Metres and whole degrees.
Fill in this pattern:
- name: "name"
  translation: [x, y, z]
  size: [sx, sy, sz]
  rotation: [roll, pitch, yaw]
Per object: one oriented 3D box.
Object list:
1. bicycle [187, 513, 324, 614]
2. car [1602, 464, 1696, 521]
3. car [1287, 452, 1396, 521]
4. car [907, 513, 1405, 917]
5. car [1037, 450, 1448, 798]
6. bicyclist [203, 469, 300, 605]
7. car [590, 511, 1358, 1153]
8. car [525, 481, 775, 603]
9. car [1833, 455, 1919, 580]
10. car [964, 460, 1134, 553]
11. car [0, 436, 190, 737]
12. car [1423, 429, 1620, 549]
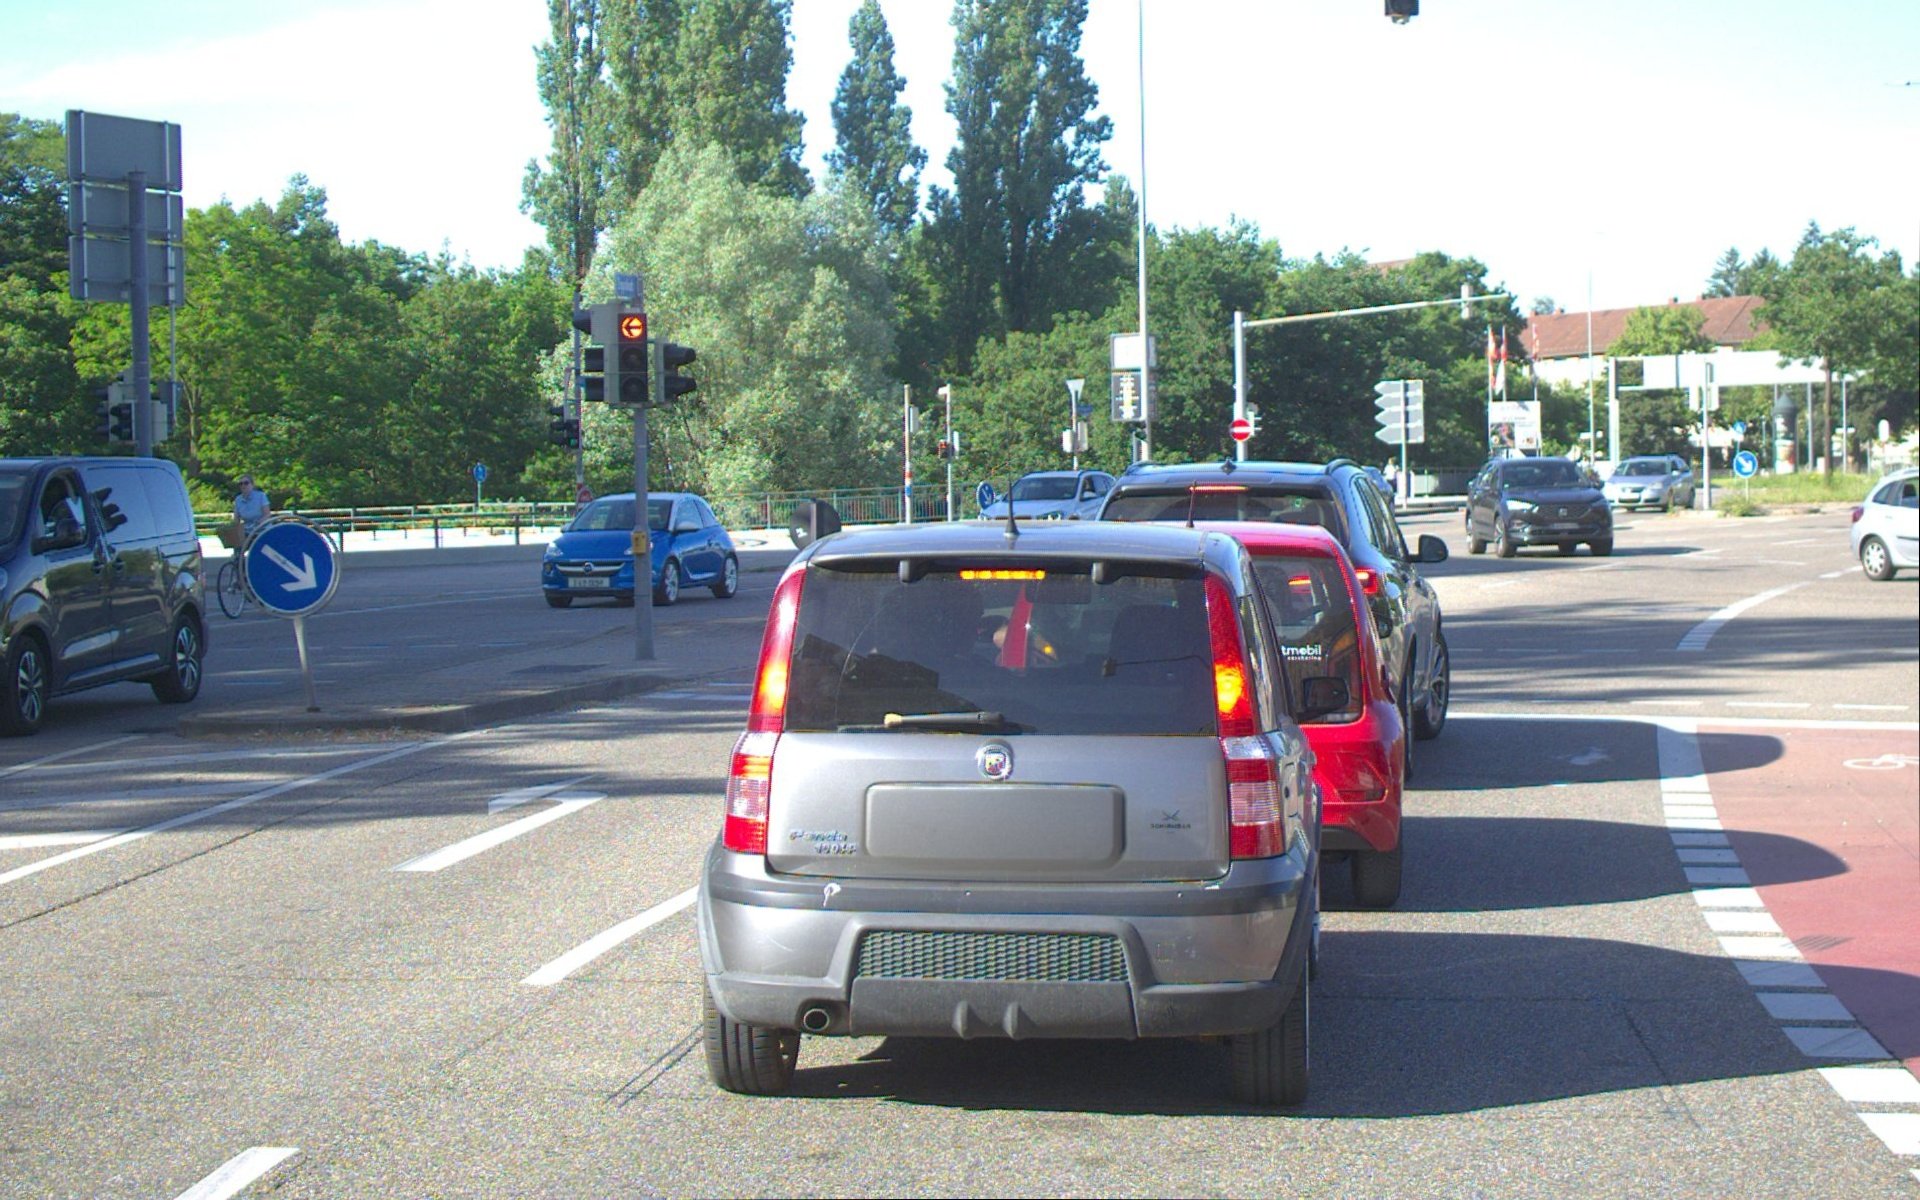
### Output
- name: "bicycle"
  translation: [-9.021, -0.477, 44.100]
  size: [0.687, 1.198, 2.325]
  rotation: [-1, 3, 16]
- name: "car"
  translation: [17.873, -2.787, 89.050]
  size: [1.769, 1.382, 4.357]
  rotation: [-1, 2, 20]
- name: "car"
  translation: [9.236, -2.721, 83.010]
  size: [1.688, 1.452, 3.909]
  rotation: [-1, -1, 20]
- name: "car"
  translation: [0.927, 0.379, 14.670]
  size: [1.820, 1.474, 3.999]
  rotation: [-1, 1, 6]
- name: "car"
  translation: [1.766, 0.035, 20.076]
  size: [1.869, 1.784, 4.412]
  rotation: [1, 2, 11]
- name: "bicyclist"
  translation: [-9.062, -0.813, 43.979]
  size: [0.687, 1.695, 1.197]
  rotation: [-1, 2, 16]
- name: "car"
  translation: [0.248, 0.507, 10.385]
  size: [1.820, 1.484, 3.999]
  rotation: [1, 2, 7]
- name: "car"
  translation: [-4.088, -0.816, 46.082]
  size: [1.821, 1.498, 4.448]
  rotation: [-1, 2, 16]
- name: "car"
  translation: [13.085, -1.068, 43.495]
  size: [1.820, 1.577, 4.105]
  rotation: [-2, 2, -23]
- name: "car"
  translation: [1.729, -1.798, 64.975]
  size: [1.835, 1.647, 4.625]
  rotation: [-1, 2, 20]
- name: "car"
  translation: [-7.053, -0.147, 24.464]
  size: [1.993, 1.928, 4.852]
  rotation: [-1, 2, 0]
- name: "car"
  translation: [9.369, -1.825, 57.666]
  size: [1.993, 1.829, 4.361]
  rotation: [0, 0, -9]
